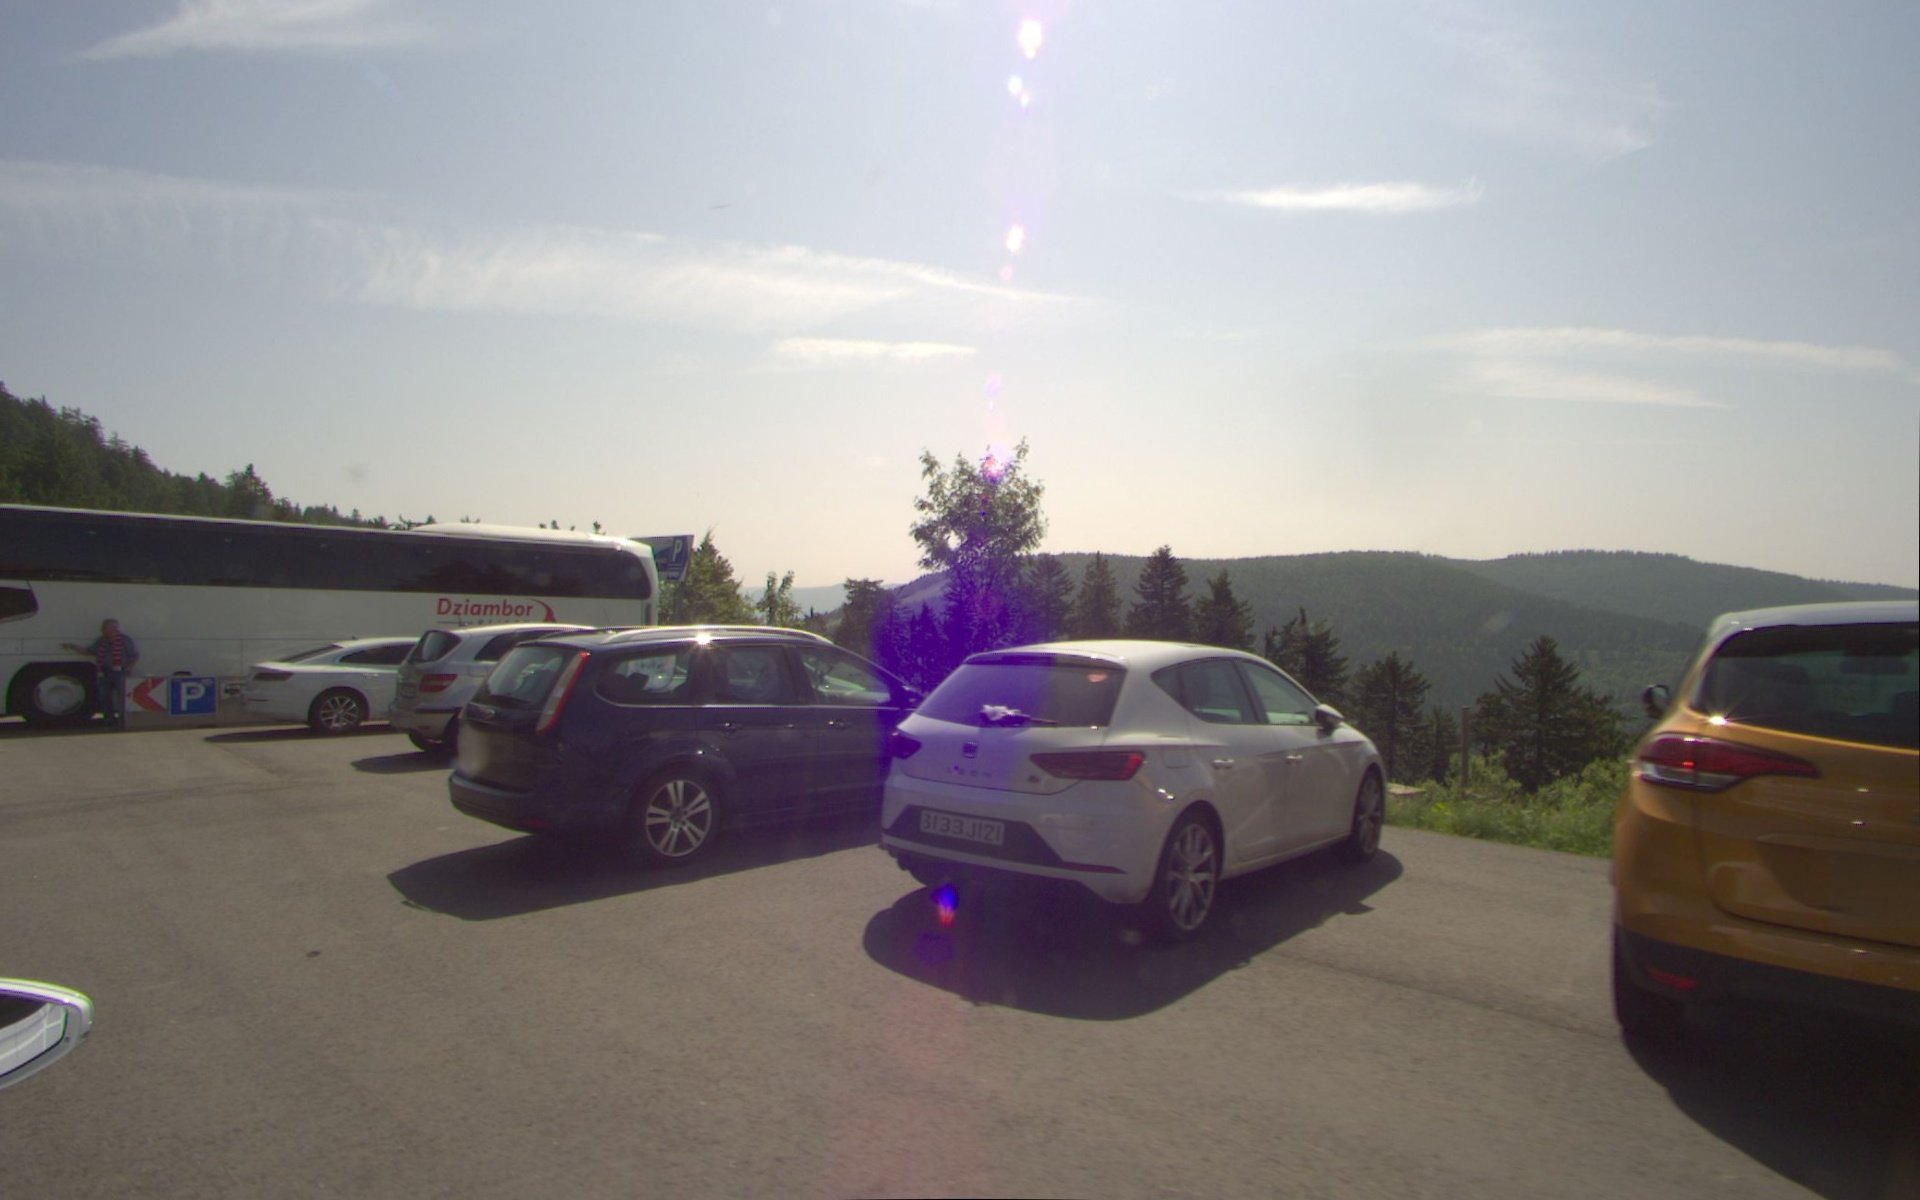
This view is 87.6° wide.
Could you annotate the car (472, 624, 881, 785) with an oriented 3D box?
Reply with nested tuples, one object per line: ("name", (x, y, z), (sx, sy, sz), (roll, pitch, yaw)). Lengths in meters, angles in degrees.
("car", (-2.951, 1.042, 10.996), (1.749, 1.437, 3.964), (-1, -3, 45))

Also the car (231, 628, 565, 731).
("car", (-8.817, 1.196, 15.938), (4.391, 1.414, 1.704), (3, -2, -40))

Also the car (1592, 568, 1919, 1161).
("car", (3.915, 0.848, 4.258), (1.688, 1.635, 3.865), (0, -3, 38))

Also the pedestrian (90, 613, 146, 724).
("pedestrian", (-13.068, 1.039, 15.534), (0.639, 1.664, 0.738), (0, 0, -42))

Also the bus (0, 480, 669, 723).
("bus", (-12.086, 0.132, 18.938), (12.759, 3.623, 2.813), (2, -2, -43))

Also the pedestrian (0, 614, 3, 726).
("pedestrian", (-14.123, 1.014, 14.114), (0.635, 1.617, 0.743), (0, 0, -18))

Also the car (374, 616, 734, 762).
("car", (-5.132, 1.065, 12.999), (1.749, 1.594, 3.964), (-1, -3, 45))

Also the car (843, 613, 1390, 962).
("car", (1.236, 0.902, 6.156), (1.595, 1.437, 3.869), (-1, -4, 39))

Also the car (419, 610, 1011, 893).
("car", (-1.599, 0.909, 7.602), (1.655, 1.564, 4.106), (0, -2, 44))
